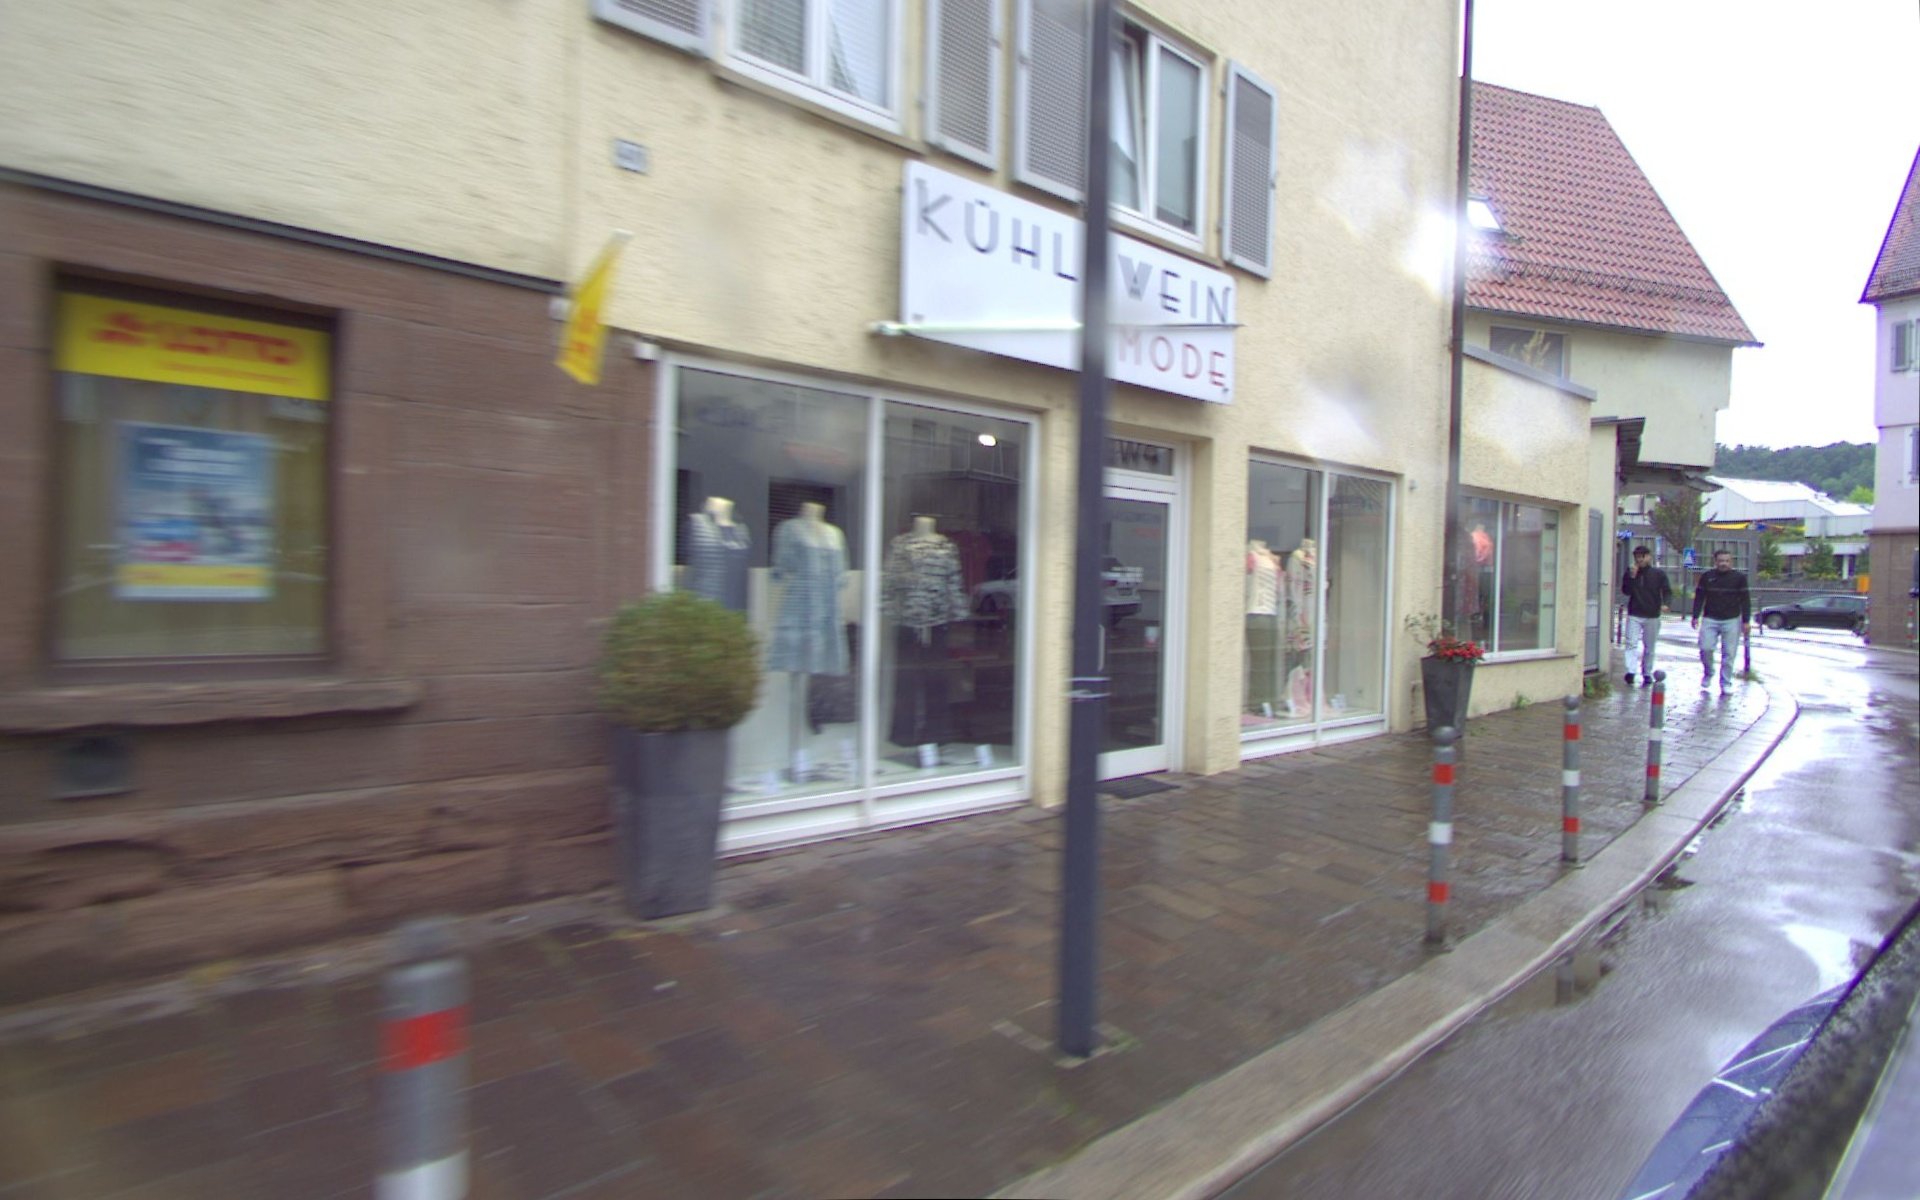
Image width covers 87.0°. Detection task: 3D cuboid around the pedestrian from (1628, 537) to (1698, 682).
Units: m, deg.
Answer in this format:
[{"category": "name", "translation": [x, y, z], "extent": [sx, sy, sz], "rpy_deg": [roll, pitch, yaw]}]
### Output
[{"category": "pedestrian", "translation": [9.723, 0.108, 14.025], "extent": [0.650, 1.925, 0.652], "rpy_deg": [3, 3, 31]}]

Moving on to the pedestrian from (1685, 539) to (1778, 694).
[{"category": "pedestrian", "translation": [10.107, 0.186, 13.296], "extent": [0.768, 1.927, 0.797], "rpy_deg": [4, 4, 31]}]
